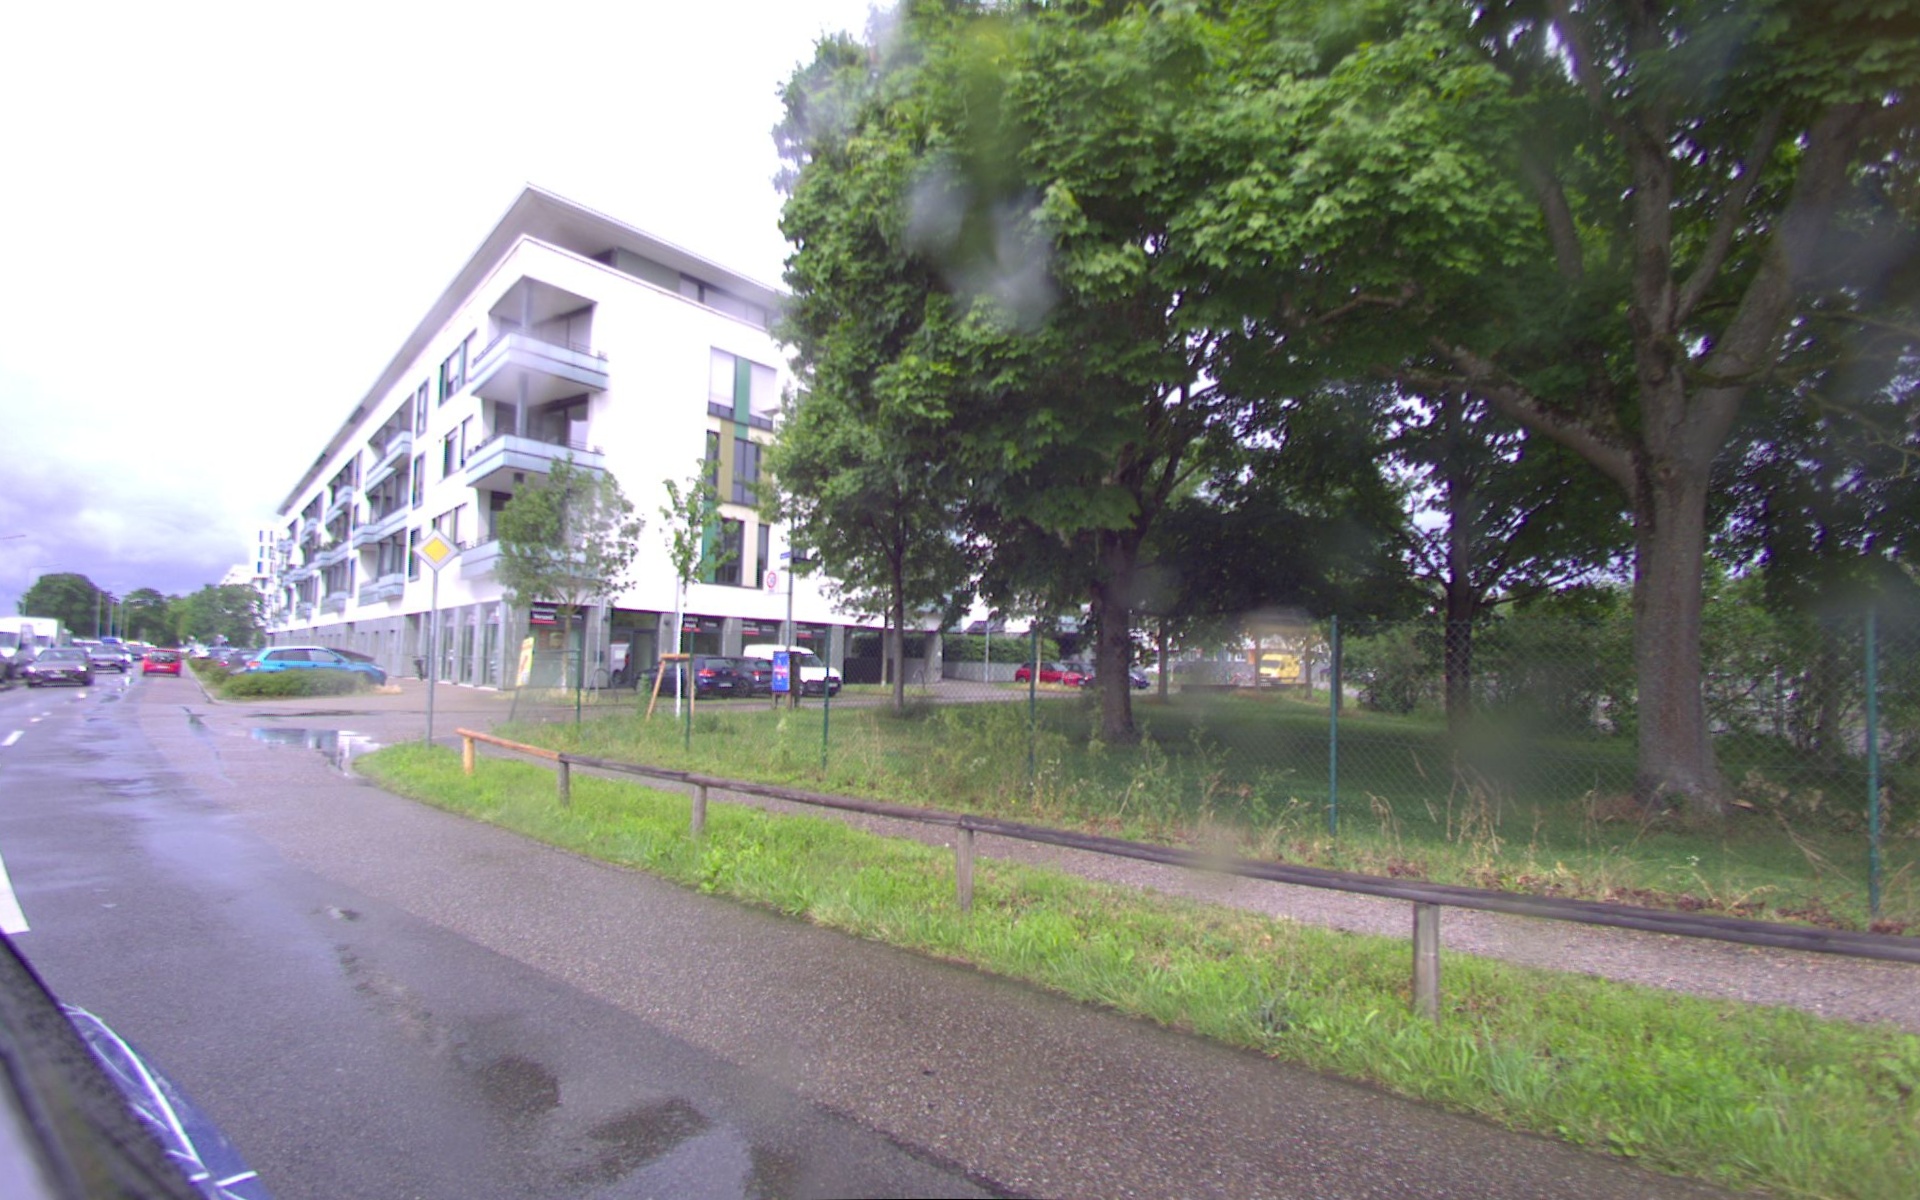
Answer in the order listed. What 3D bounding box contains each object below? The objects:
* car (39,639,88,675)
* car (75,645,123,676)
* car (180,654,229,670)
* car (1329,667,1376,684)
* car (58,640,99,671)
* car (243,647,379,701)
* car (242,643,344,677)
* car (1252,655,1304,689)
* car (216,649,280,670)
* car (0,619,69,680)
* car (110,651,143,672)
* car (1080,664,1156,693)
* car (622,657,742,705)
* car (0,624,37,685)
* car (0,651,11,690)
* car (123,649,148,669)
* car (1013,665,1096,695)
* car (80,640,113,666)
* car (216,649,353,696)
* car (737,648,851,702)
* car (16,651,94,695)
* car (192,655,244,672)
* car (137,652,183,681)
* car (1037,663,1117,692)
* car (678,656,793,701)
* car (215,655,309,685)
[{"bbox_3d":[-58.331,3.724,65.893,1.968,2.259,4.572,4,-5,-38],"label":"car"},{"bbox_3d":[-50.728,3.539,59.687,1.980,1.718,4.336,5,-5,-40],"label":"car"},{"bbox_3d":[-73.660,6.036,98.665,3.740,1.381,1.748,1,-2,-39],"label":"car"},{"bbox_3d":[39.812,7.652,102.633,4.174,1.547,1.624,-1,-2,34],"label":"car"},{"bbox_3d":[-67.066,4.221,77.048,1.968,2.259,4.572,4,-5,-38],"label":"car"},{"bbox_3d":[-21.943,2.465,34.261,3.760,1.646,1.759,0,-2,-36],"label":"car"},{"bbox_3d":[-29.460,2.627,44.742,3.612,1.388,1.689,1,-4,-41],"label":"car"},{"bbox_3d":[26.710,5.989,84.796,1.965,2.634,6.553,-1,-3,39],"label":"car"},{"bbox_3d":[-52.081,4.350,74.065,3.740,1.381,1.748,1,-2,-39],"label":"car"},{"bbox_3d":[-49.571,2.663,53.774,2.438,2.978,6.902,5,-6,-35],"label":"car"},{"bbox_3d":[-62.729,4.618,76.125,1.814,1.531,4.364,5,-5,-40],"label":"car"},{"bbox_3d":[9.331,4.614,59.905,4.174,1.547,1.624,-1,-2,34],"label":"car"},{"bbox_3d":[-9.468,2.699,34.334,4.178,1.407,1.624,-1,-2,34],"label":"car"},{"bbox_3d":[-43.014,2.391,45.014,2.041,2.548,6.671,6,-6,-36],"label":"car"},{"bbox_3d":[-37.500,2.644,38.260,1.707,1.505,4.451,6,-6,-36],"label":"car"},{"bbox_3d":[-86.863,6.156,106.616,1.969,2.029,4.006,1,-2,-41],"label":"car"},{"bbox_3d":[4.997,4.219,53.875,4.174,1.407,1.624,-1,-2,34],"label":"car"},{"bbox_3d":[-79.411,4.914,93.128,1.968,2.259,4.572,4,-5,-38],"label":"car"},{"bbox_3d":[-25.249,2.672,37.878,4.119,1.561,1.863,1,-3,-39],"label":"car"},{"bbox_3d":[-6.282,2.768,38.132,4.339,1.849,1.624,-1,-2,34],"label":"car"},{"bbox_3d":[-34.248,2.755,38.384,1.845,1.531,4.366,0,-3,-37],"label":"car"},{"bbox_3d":[-66.895,5.701,91.248,3.740,1.381,1.748,1,-2,-39],"label":"car"},{"bbox_3d":[-42.545,3.543,53.880,1.635,1.479,3.397,4,-5,-35],"label":"car"},{"bbox_3d":[6.500,4.274,56.383,4.174,1.407,1.624,-1,-2,34],"label":"car"},{"bbox_3d":[-8.039,2.749,36.115,4.118,1.407,1.669,-1,-2,34],"label":"car"},{"bbox_3d":[-34.252,3.400,49.718,3.683,1.383,1.648,2,-3,-38],"label":"car"}]
